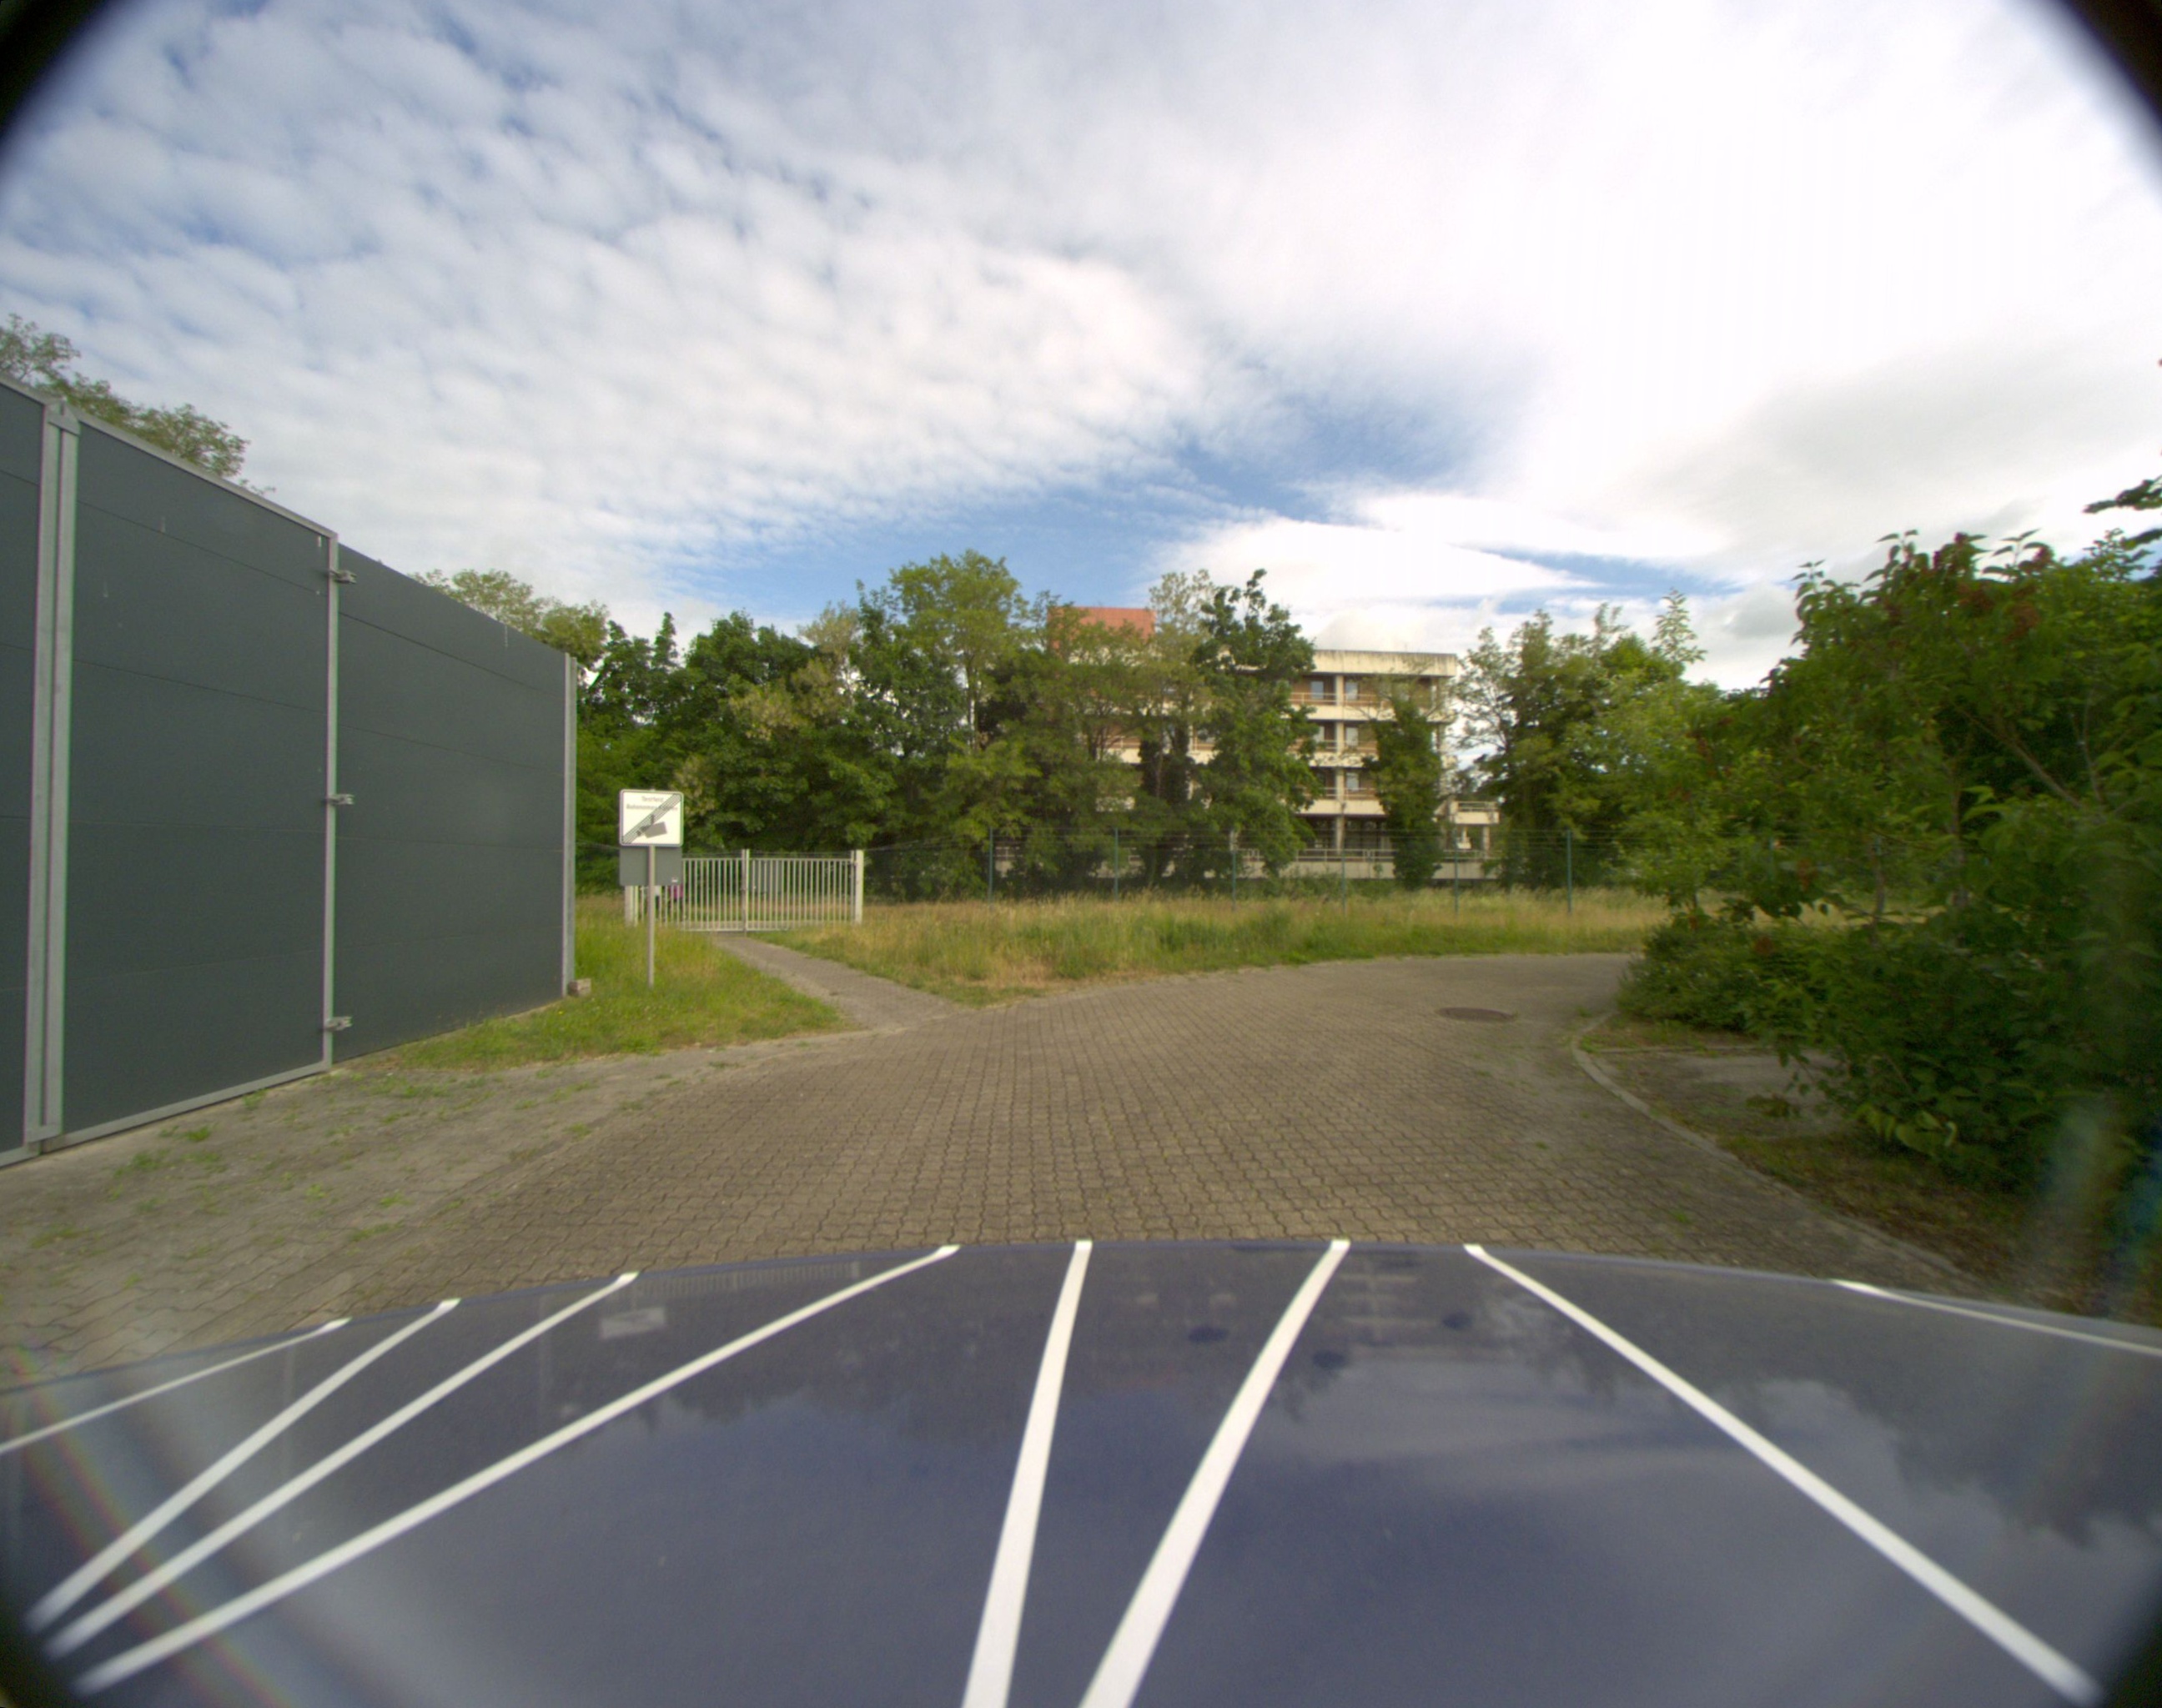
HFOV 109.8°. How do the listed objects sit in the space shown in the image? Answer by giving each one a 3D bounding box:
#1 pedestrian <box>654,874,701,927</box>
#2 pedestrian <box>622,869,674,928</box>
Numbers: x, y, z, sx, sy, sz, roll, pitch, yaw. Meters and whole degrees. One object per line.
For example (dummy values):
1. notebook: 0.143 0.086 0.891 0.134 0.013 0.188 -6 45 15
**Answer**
1. pedestrian: -12.270 1.403 23.108 1.034 1.565 0.737 0 0 -2
2. pedestrian: -12.635 1.288 22.207 1.036 1.672 0.844 0 0 1
